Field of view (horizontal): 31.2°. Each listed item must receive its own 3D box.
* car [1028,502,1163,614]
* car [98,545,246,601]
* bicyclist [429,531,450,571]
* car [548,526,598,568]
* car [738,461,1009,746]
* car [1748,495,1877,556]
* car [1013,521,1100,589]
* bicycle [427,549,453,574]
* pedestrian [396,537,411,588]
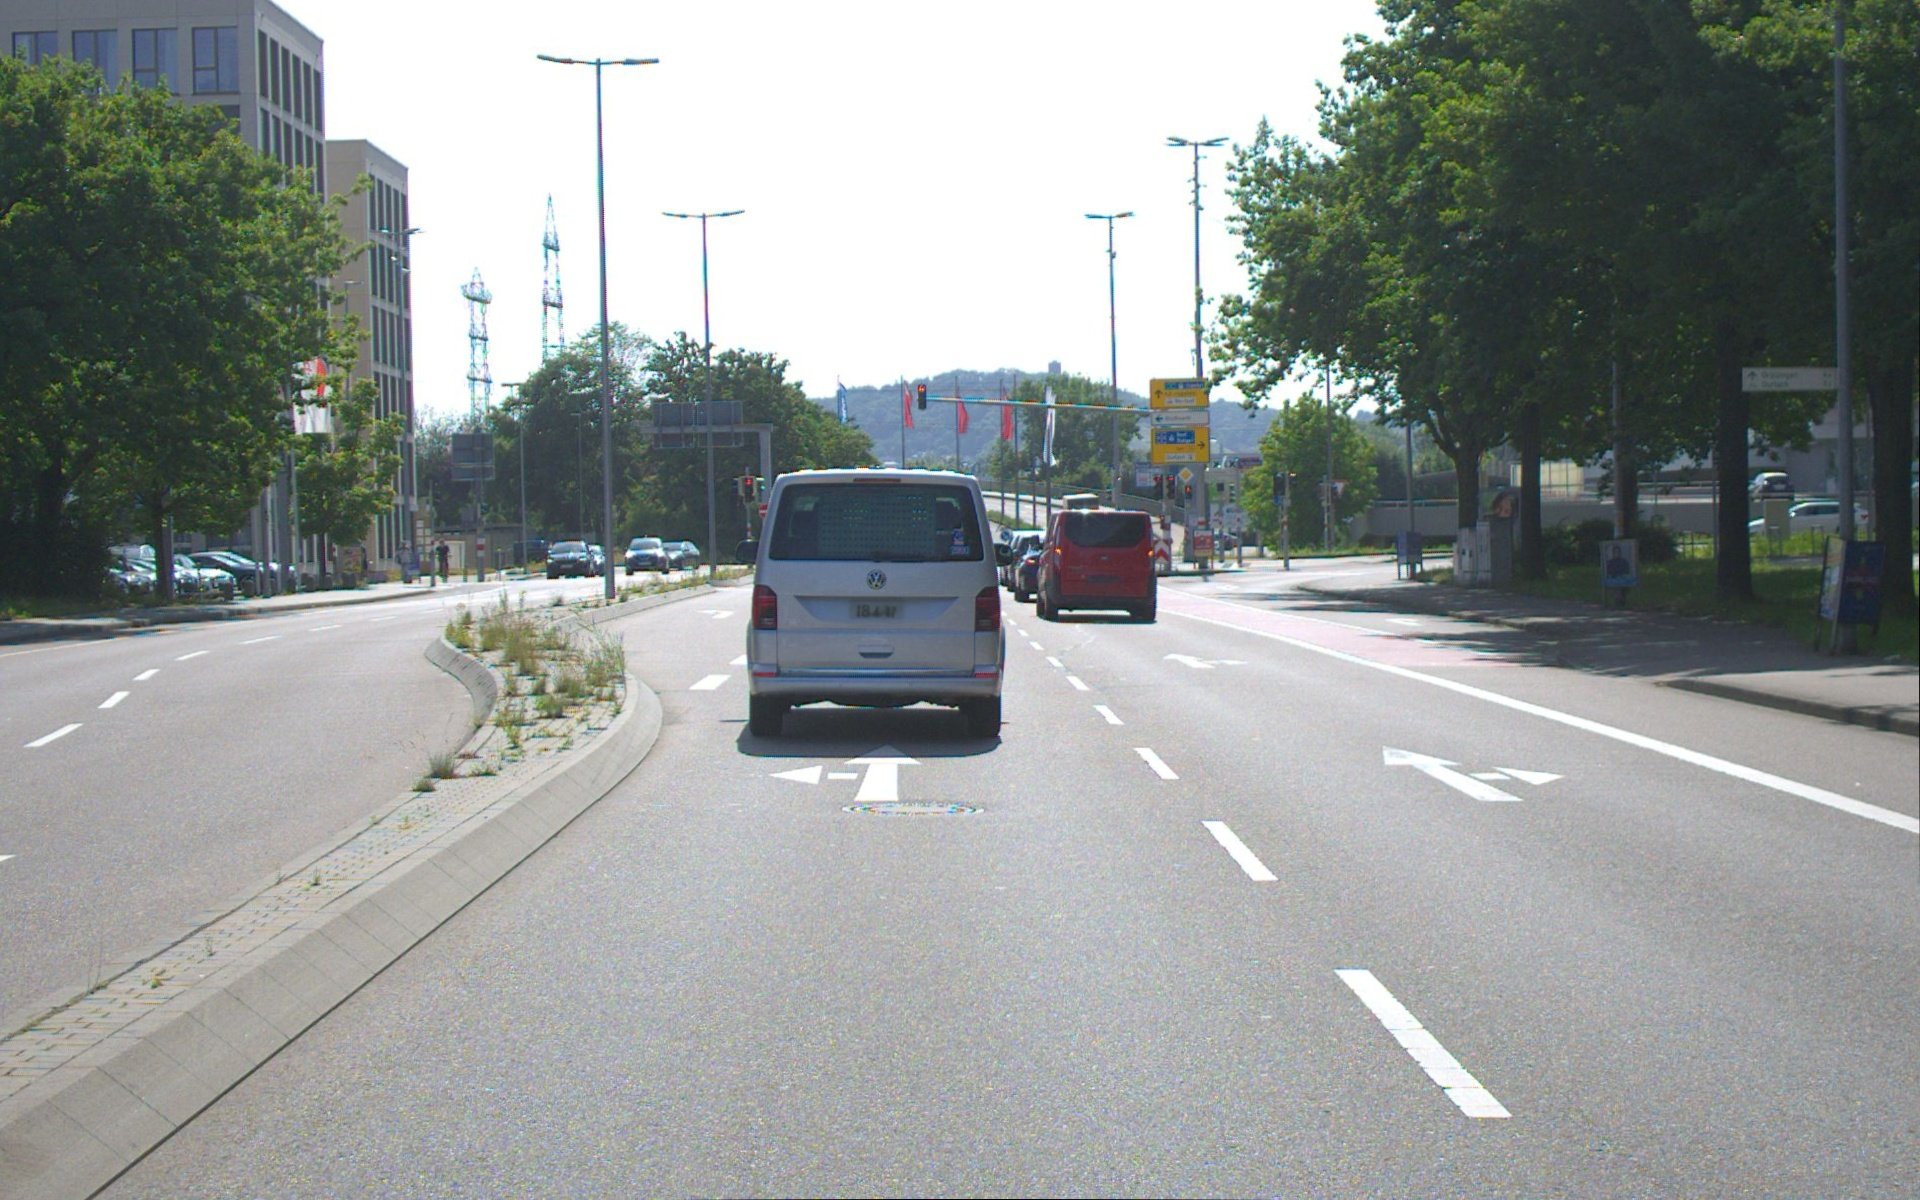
[{"bbox_3d":[2.417,-0.791,62.641,1.967,1.961,5.126,0,1,-3],"label":"car"},{"bbox_3d":[-23.607,-0.818,103.065,3.874,1.360,1.749,-4,2,3],"label":"car"},{"bbox_3d":[-20.316,-1.929,134.249,0.618,1.521,1.036,-2,1,0],"label":"bicyclist"},{"bbox_3d":[-16.469,-2.266,146.335,1.738,1.613,4.210,-4,1,-3],"label":"car"},{"bbox_3d":[-0.626,-0.019,26.076,1.884,1.983,4.000,0,1,-1],"label":"car"},{"bbox_3d":[31.855,-2.796,128.537,4.402,1.987,1.481,-4,1,4],"label":"car"},{"bbox_3d":[2.126,-1.027,76.920,1.746,1.453,4.476,0,1,-1],"label":"car"},{"bbox_3d":[-20.309,-1.500,134.374,0.680,0.937,1.973,-2,1,0],"label":"bicycle"},{"bbox_3d":[-22.206,-1.507,137.151,0.558,2.007,0.576,0,1,-9],"label":"pedestrian"}]
